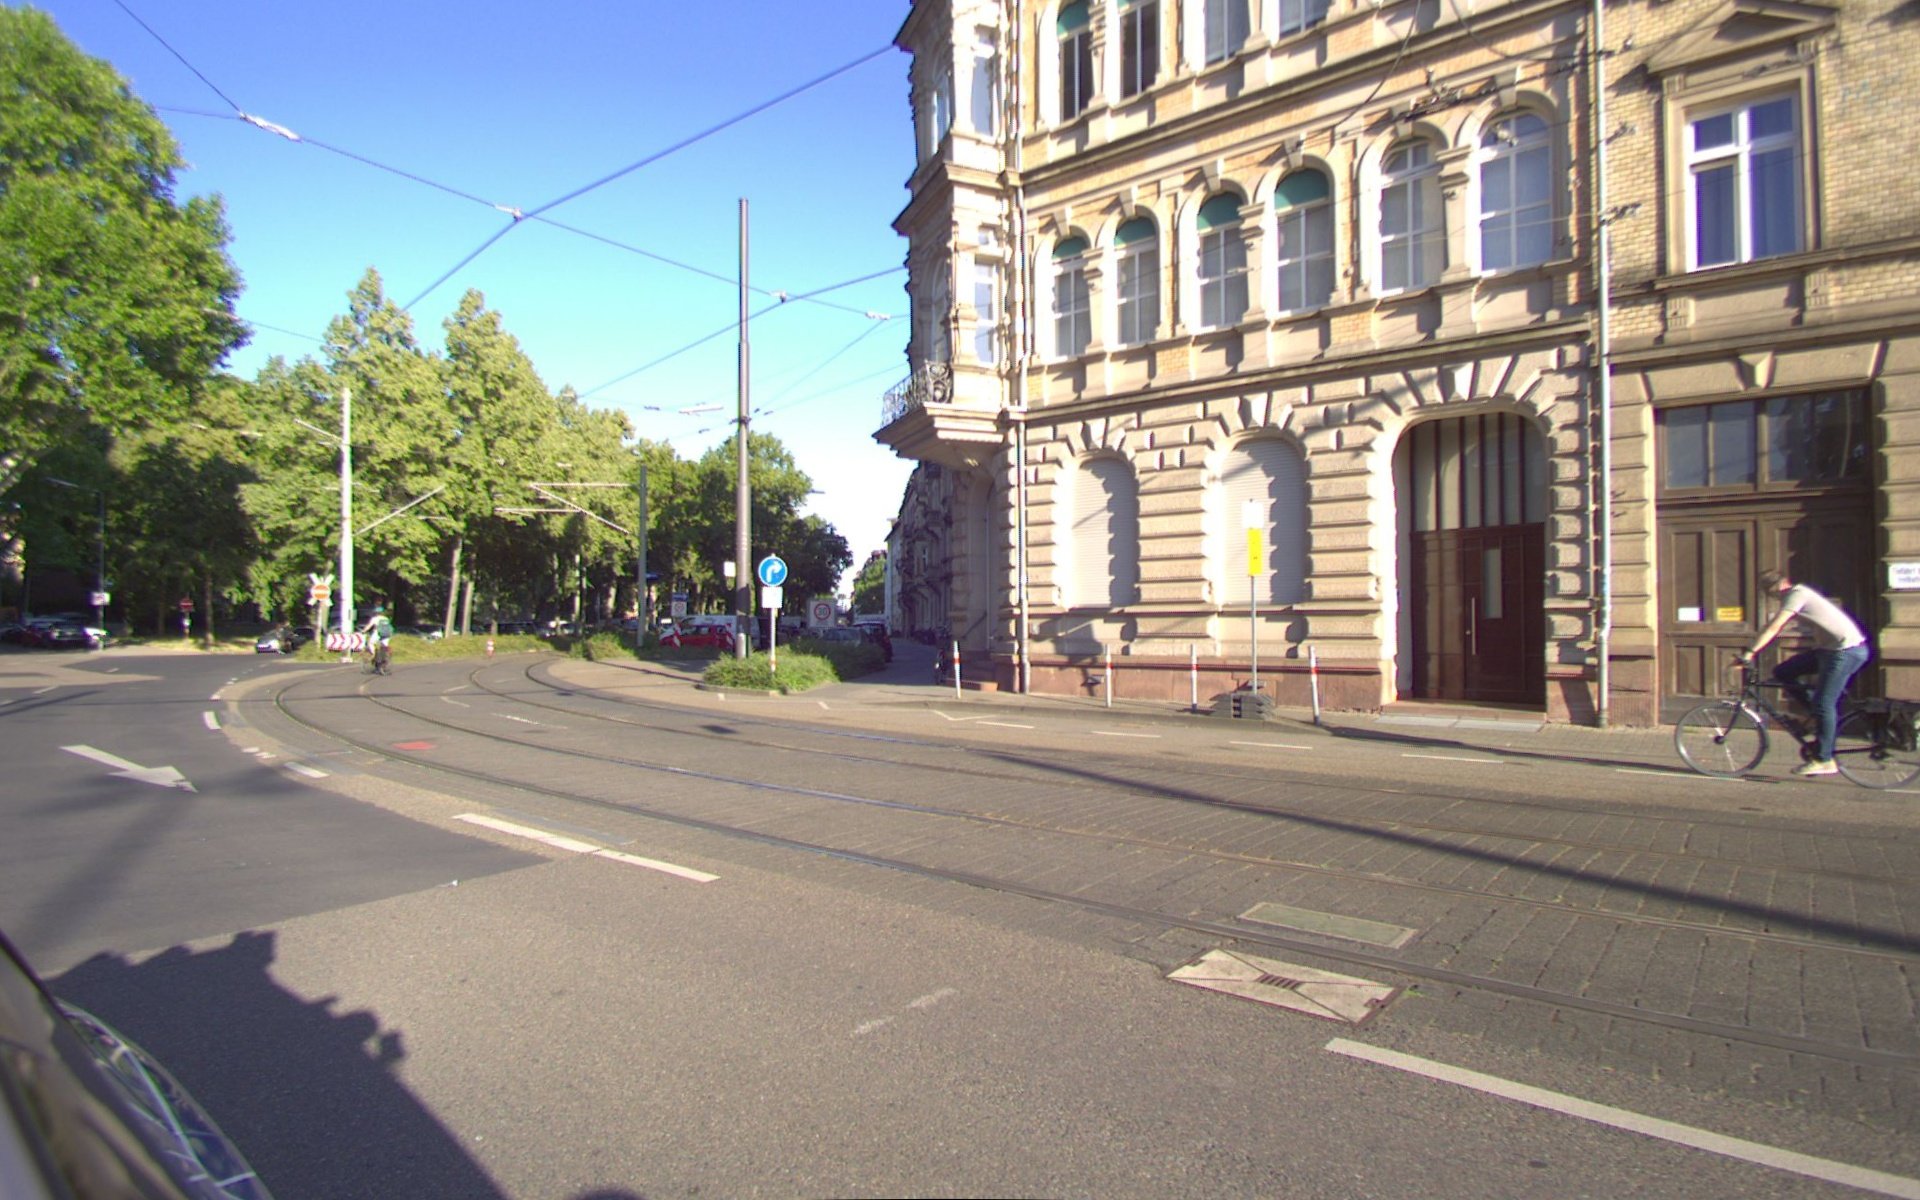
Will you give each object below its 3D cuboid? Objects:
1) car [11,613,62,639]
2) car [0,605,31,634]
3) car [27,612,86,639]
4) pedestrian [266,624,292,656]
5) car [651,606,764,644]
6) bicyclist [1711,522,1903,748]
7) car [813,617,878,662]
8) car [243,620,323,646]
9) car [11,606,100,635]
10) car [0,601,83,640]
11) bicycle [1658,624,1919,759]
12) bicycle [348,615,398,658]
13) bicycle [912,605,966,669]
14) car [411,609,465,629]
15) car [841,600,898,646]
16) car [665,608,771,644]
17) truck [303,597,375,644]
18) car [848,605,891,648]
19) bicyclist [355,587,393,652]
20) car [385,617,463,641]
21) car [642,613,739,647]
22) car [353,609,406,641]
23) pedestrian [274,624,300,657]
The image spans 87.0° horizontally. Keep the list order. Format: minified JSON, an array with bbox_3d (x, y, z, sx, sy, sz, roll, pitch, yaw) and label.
[{"bbox_3d":[-53.759,1.508,58.876,3.920,1.459,1.516,-1,-2,37],"label":"car"},{"bbox_3d":[-64.176,1.332,67.965,4.218,1.871,1.751,-1,-2,35],"label":"car"},{"bbox_3d":[-49.533,1.399,55.463,3.625,1.459,1.719,-1,-2,37],"label":"car"},{"bbox_3d":[-37.508,2.197,55.715,0.826,1.781,0.880,-1,-2,27],"label":"pedestrian"},{"bbox_3d":[-12.308,1.211,49.395,5.011,1.801,1.991,0,-1,15],"label":"car"},{"bbox_3d":[7.469,0.309,8.971,1.212,1.854,0.720,-2,-3,41],"label":"bicyclist"},{"bbox_3d":[-3.828,1.311,34.230,1.714,1.425,3.432,0,-1,2],"label":"car"},{"bbox_3d":[-38.917,1.882,58.285,1.924,1.409,3.999,0,-1,0],"label":"car"},{"bbox_3d":[-56.454,1.277,63.237,1.531,1.775,3.881,-1,-2,34],"label":"car"},{"bbox_3d":[-58.634,1.320,64.475,1.531,2.424,3.881,-1,-2,34],"label":"car"},{"bbox_3d":[7.499,0.767,8.934,2.115,1.092,0.719,-2,-3,41],"label":"bicycle"},{"bbox_3d":[-16.599,1.023,28.608,1.951,1.184,0.603,-1,-2,41],"label":"bicycle"},{"bbox_3d":[-0.415,0.768,21.644,0.638,1.276,2.679,0,-1,10],"label":"bicycle"},{"bbox_3d":[-48.223,1.747,93.582,4.410,1.763,1.987,-1,-2,20],"label":"car"},{"bbox_3d":[-3.437,0.900,39.027,1.714,1.674,3.998,0,-1,2],"label":"car"},{"bbox_3d":[-12.545,1.342,52.508,5.011,1.822,1.991,0,-1,15],"label":"car"},{"bbox_3d":[-39.096,1.298,63.829,1.969,2.804,4.891,0,-1,-7],"label":"truck"},{"bbox_3d":[-4.378,1.281,49.745,1.970,2.029,4.639,0,-1,-3],"label":"car"},{"bbox_3d":[-16.534,0.555,28.558,1.060,1.776,0.599,-1,-2,41],"label":"bicyclist"},{"bbox_3d":[-30.841,1.646,58.273,3.647,1.364,1.736,0,-1,10],"label":"car"},{"bbox_3d":[-12.484,1.370,47.005,3.962,1.519,1.860,0,-1,15],"label":"car"},{"bbox_3d":[-39.462,1.681,68.904,1.762,2.095,4.007,0,-1,-8],"label":"car"},{"bbox_3d":[-36.766,2.193,55.290,0.826,1.781,0.880,-1,-2,27],"label":"pedestrian"}]
